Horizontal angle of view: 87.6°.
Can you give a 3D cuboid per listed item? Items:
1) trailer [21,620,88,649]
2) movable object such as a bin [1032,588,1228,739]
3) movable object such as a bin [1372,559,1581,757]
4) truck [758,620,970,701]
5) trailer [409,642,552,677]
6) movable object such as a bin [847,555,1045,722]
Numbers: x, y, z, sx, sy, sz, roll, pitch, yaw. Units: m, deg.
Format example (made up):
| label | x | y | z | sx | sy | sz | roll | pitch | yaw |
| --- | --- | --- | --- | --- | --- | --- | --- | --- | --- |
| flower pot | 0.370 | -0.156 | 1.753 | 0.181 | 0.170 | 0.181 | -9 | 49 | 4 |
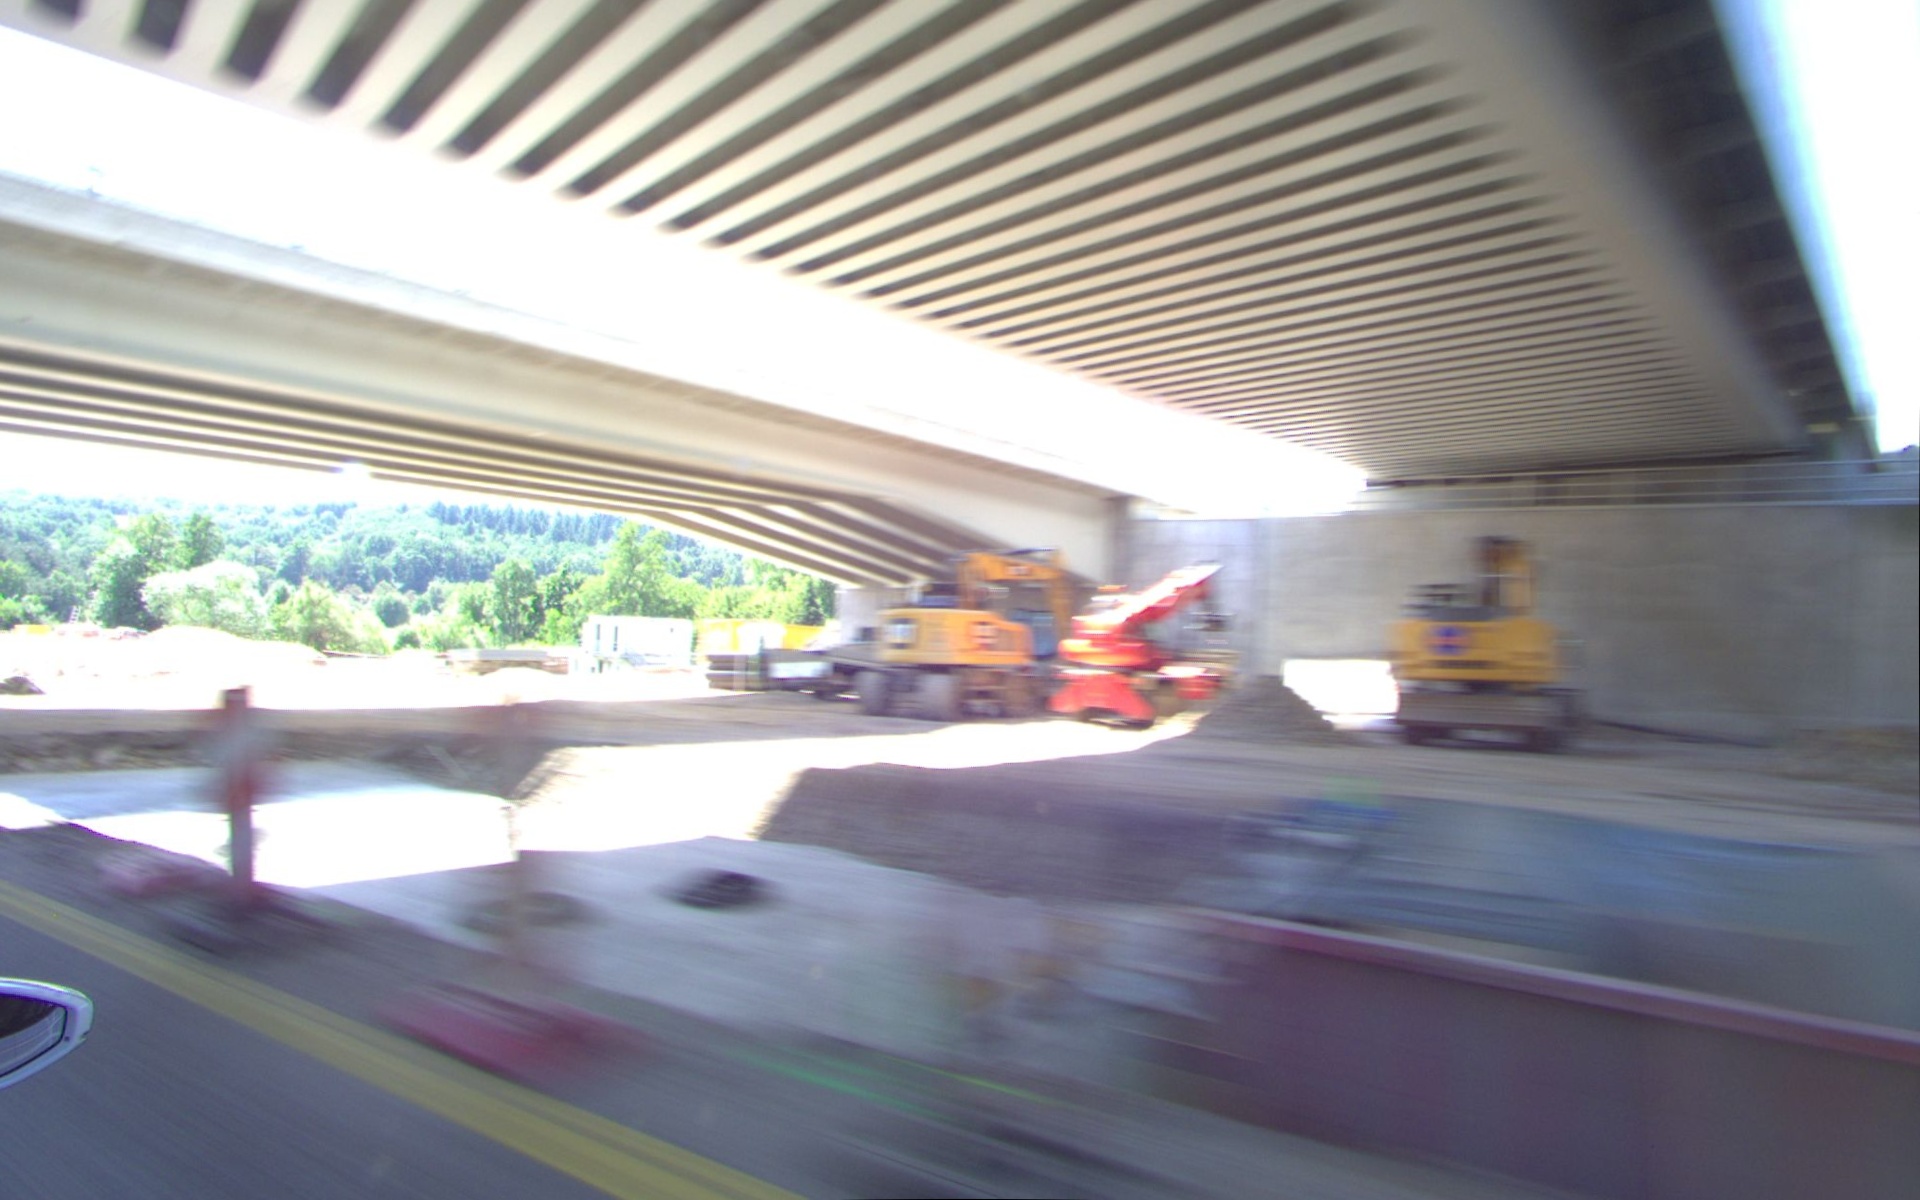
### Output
| label | x | y | z | sx | sy | sz | roll | pitch | yaw |
| --- | --- | --- | --- | --- | --- | --- | --- | --- | --- |
| trailer | -51.158 | 1.958 | 56.583 | 3.767 | 1.504 | 1.623 | 0 | -2 | 29 |
| movable object such as a bin | 4.087 | 1.490 | 23.313 | 2.464 | 3.093 | 5.227 | -2 | -4 | 36 |
| movable object such as a bin | 10.192 | 1.152 | 19.577 | 2.952 | 3.327 | 4.542 | -2 | -4 | 36 |
| truck | -2.643 | 1.760 | 29.615 | 2.630 | 2.099 | 6.507 | 0 | -3 | 35 |
| trailer | -18.553 | 2.290 | 38.975 | 2.027 | 1.235 | 4.706 | -2 | -3 | 32 |
| movable object such as a bin | -0.286 | 0.993 | 23.922 | 2.873 | 3.585 | 3.862 | -3 | -4 | 43 |
